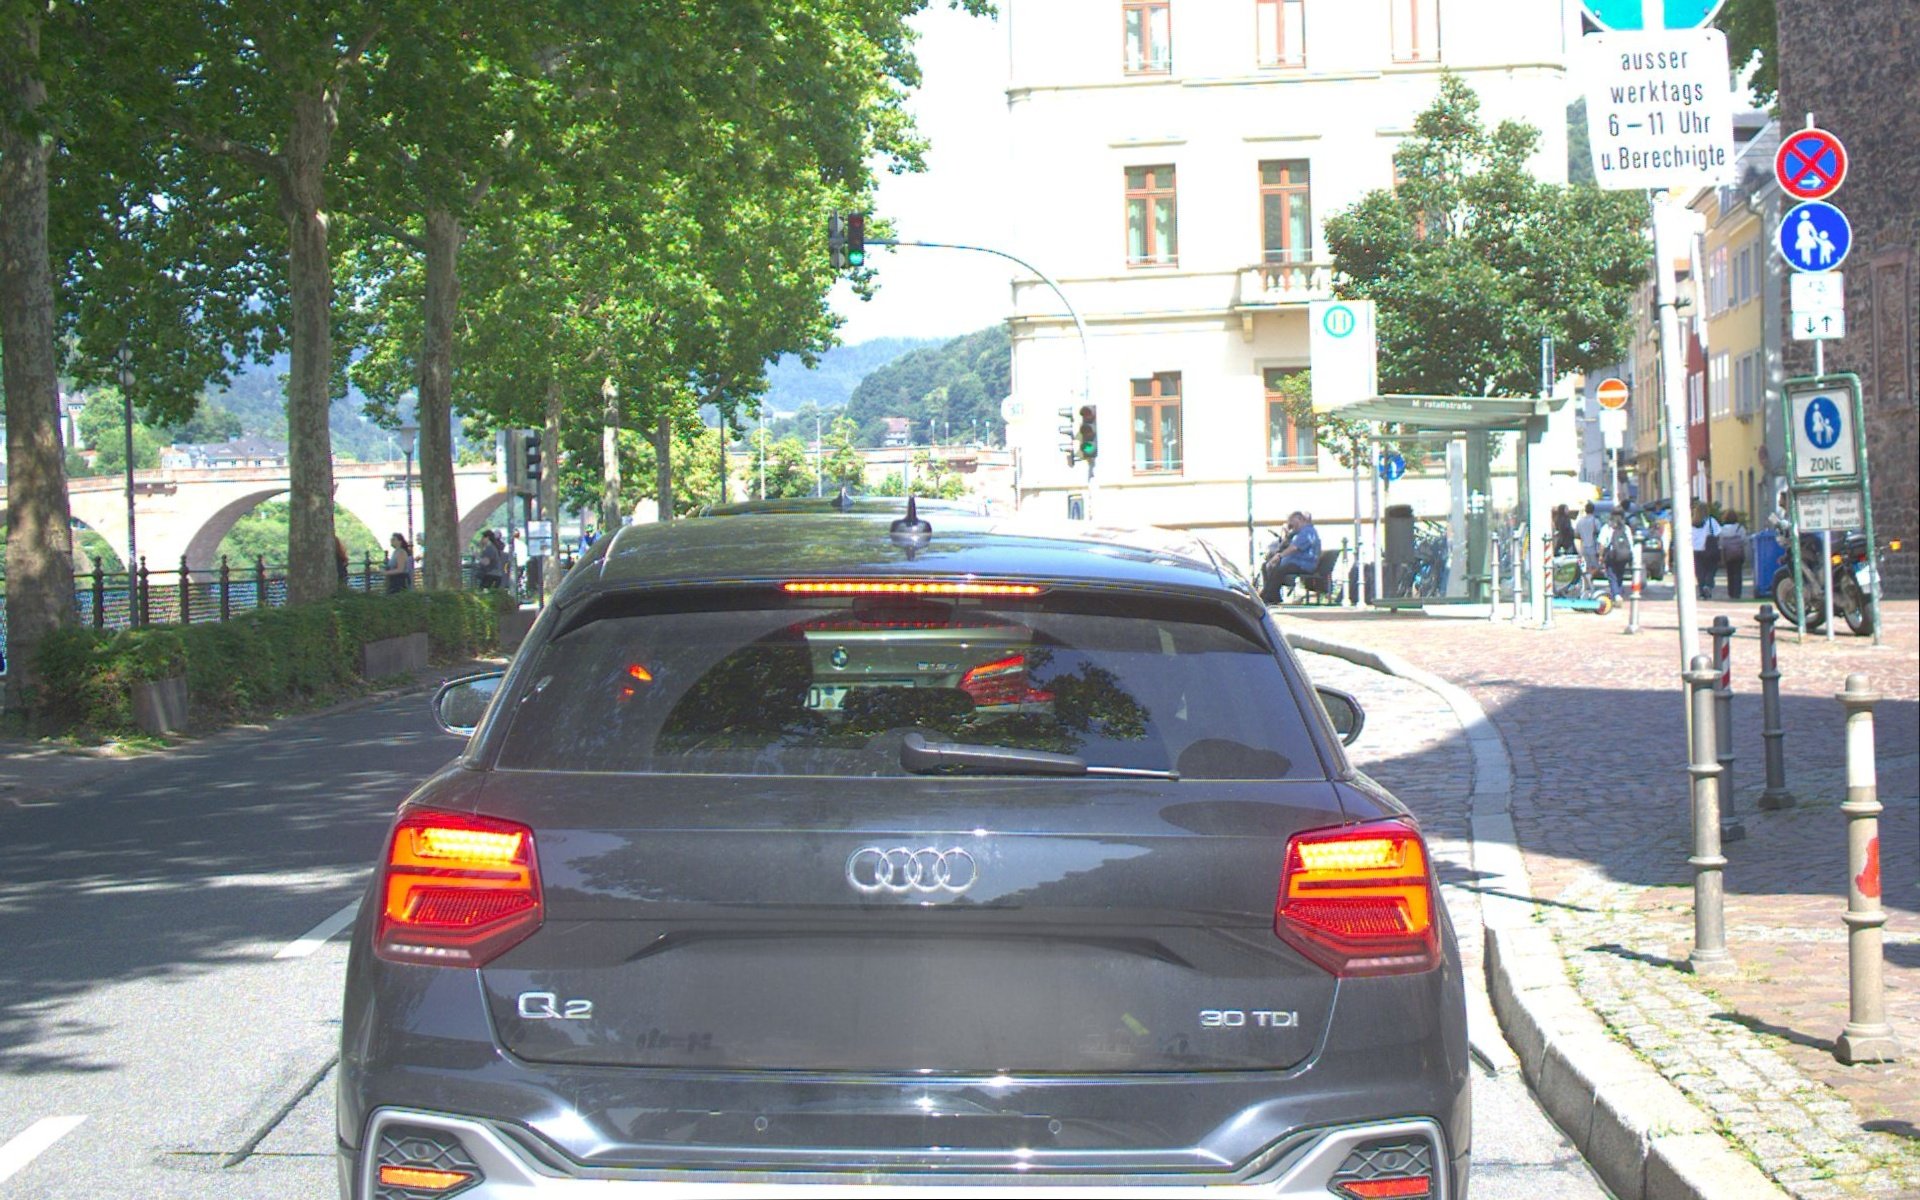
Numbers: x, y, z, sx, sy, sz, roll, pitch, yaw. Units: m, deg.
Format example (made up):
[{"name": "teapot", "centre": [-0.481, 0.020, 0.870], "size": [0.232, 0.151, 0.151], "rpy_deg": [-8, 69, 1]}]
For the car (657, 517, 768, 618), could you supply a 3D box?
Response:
[{"name": "car", "centre": [-4.409, -0.606, 61.728], "size": [1.673, 1.654, 4.223], "rpy_deg": [-4, 1, -1]}]

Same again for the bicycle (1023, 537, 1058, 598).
[{"name": "bicycle", "centre": [1.455, -0.590, 62.385], "size": [0.437, 1.082, 1.677], "rpy_deg": [1, 0, -5]}]

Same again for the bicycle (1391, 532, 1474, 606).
[{"name": "bicycle", "centre": [6.738, -0.436, 48.978], "size": [1.201, 1.031, 0.179], "rpy_deg": [1, 0, -19]}]

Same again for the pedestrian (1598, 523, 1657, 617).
[{"name": "pedestrian", "centre": [10.441, -0.475, 53.810], "size": [0.638, 1.439, 0.799], "rpy_deg": [-2, 1, -7]}]

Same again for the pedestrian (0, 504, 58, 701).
[{"name": "pedestrian", "centre": [-9.012, 0.021, 33.087], "size": [0.534, 1.880, 0.436], "rpy_deg": [0, 1, -1]}]

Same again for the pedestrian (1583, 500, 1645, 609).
[{"name": "pedestrian", "centre": [12.277, -0.852, 64.571], "size": [0.940, 2.007, 0.807], "rpy_deg": [1, 0, -4]}]

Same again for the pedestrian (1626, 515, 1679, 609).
[{"name": "pedestrian", "centre": [14.896, -0.811, 73.960], "size": [0.944, 2.007, 0.807], "rpy_deg": [1, 0, 0]}]

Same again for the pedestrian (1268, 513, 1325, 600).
[{"name": "pedestrian", "centre": [4.705, -0.607, 48.107], "size": [0.663, 1.207, 0.641], "rpy_deg": [1, 0, -6]}]

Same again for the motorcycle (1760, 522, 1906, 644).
[{"name": "motorcycle", "centre": [7.605, -0.167, 30.056], "size": [0.566, 1.009, 2.490], "rpy_deg": [-1, 1, -2]}]

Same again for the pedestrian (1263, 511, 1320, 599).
[{"name": "pedestrian", "centre": [4.708, -0.639, 48.845], "size": [0.663, 1.227, 0.641], "rpy_deg": [1, 0, -6]}]

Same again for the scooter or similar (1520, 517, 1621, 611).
[{"name": "scooter or similar", "centre": [7.000, -0.416, 39.432], "size": [1.088, 1.062, 0.323], "rpy_deg": [1, 0, -2]}]

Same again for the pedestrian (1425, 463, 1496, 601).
[{"name": "pedestrian", "centre": [6.112, -0.827, 42.011], "size": [0.654, 1.656, 0.810], "rpy_deg": [-2, 1, -6]}]

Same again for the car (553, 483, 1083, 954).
[{"name": "car", "centre": [-0.506, 0.370, 13.463], "size": [1.793, 1.589, 3.399], "rpy_deg": [1, 1, -1]}]

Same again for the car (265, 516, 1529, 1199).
[{"name": "car", "centre": [-0.113, 0.607, 6.609], "size": [1.743, 1.504, 3.647], "rpy_deg": [1, 1, -1]}]

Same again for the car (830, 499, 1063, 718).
[{"name": "car", "centre": [-0.128, 0.024, 28.678], "size": [1.794, 1.676, 4.000], "rpy_deg": [1, 1, -1]}]

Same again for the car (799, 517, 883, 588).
[{"name": "car", "centre": [-3.109, -1.241, 90.456], "size": [1.993, 1.800, 4.000], "rpy_deg": [1, 0, 1]}]

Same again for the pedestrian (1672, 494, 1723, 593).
[{"name": "pedestrian", "centre": [12.415, -0.951, 57.903], "size": [0.607, 1.613, 0.710], "rpy_deg": [-3, 0, -1]}]

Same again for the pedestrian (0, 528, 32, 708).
[{"name": "pedestrian", "centre": [-9.166, 0.166, 32.495], "size": [0.601, 1.680, 0.583], "rpy_deg": [-1, 1, -2]}]

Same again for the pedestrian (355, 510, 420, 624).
[{"name": "pedestrian", "centre": [-9.220, -0.530, 55.392], "size": [0.911, 1.805, 0.586], "rpy_deg": [1, 0, 4]}]

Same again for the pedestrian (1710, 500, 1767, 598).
[{"name": "pedestrian", "centre": [13.047, -0.852, 57.618], "size": [0.691, 1.607, 0.891], "rpy_deg": [-2, 1, -1]}]

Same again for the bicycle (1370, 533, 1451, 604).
[{"name": "bicycle", "centre": [6.503, -0.451, 49.614], "size": [1.184, 1.012, 0.179], "rpy_deg": [1, 0, -19]}]

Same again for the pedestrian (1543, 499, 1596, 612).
[{"name": "pedestrian", "centre": [7.559, -0.554, 42.656], "size": [0.557, 1.380, 0.588], "rpy_deg": [1, 0, 2]}]

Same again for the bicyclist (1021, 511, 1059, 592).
[{"name": "bicyclist", "centre": [1.459, -0.880, 62.437], "size": [0.605, 1.445, 0.591], "rpy_deg": [1, 0, -5]}]

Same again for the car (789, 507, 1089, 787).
[{"name": "car", "centre": [-0.140, 0.229, 21.550], "size": [1.710, 1.603, 3.655], "rpy_deg": [0, 1, -1]}]
